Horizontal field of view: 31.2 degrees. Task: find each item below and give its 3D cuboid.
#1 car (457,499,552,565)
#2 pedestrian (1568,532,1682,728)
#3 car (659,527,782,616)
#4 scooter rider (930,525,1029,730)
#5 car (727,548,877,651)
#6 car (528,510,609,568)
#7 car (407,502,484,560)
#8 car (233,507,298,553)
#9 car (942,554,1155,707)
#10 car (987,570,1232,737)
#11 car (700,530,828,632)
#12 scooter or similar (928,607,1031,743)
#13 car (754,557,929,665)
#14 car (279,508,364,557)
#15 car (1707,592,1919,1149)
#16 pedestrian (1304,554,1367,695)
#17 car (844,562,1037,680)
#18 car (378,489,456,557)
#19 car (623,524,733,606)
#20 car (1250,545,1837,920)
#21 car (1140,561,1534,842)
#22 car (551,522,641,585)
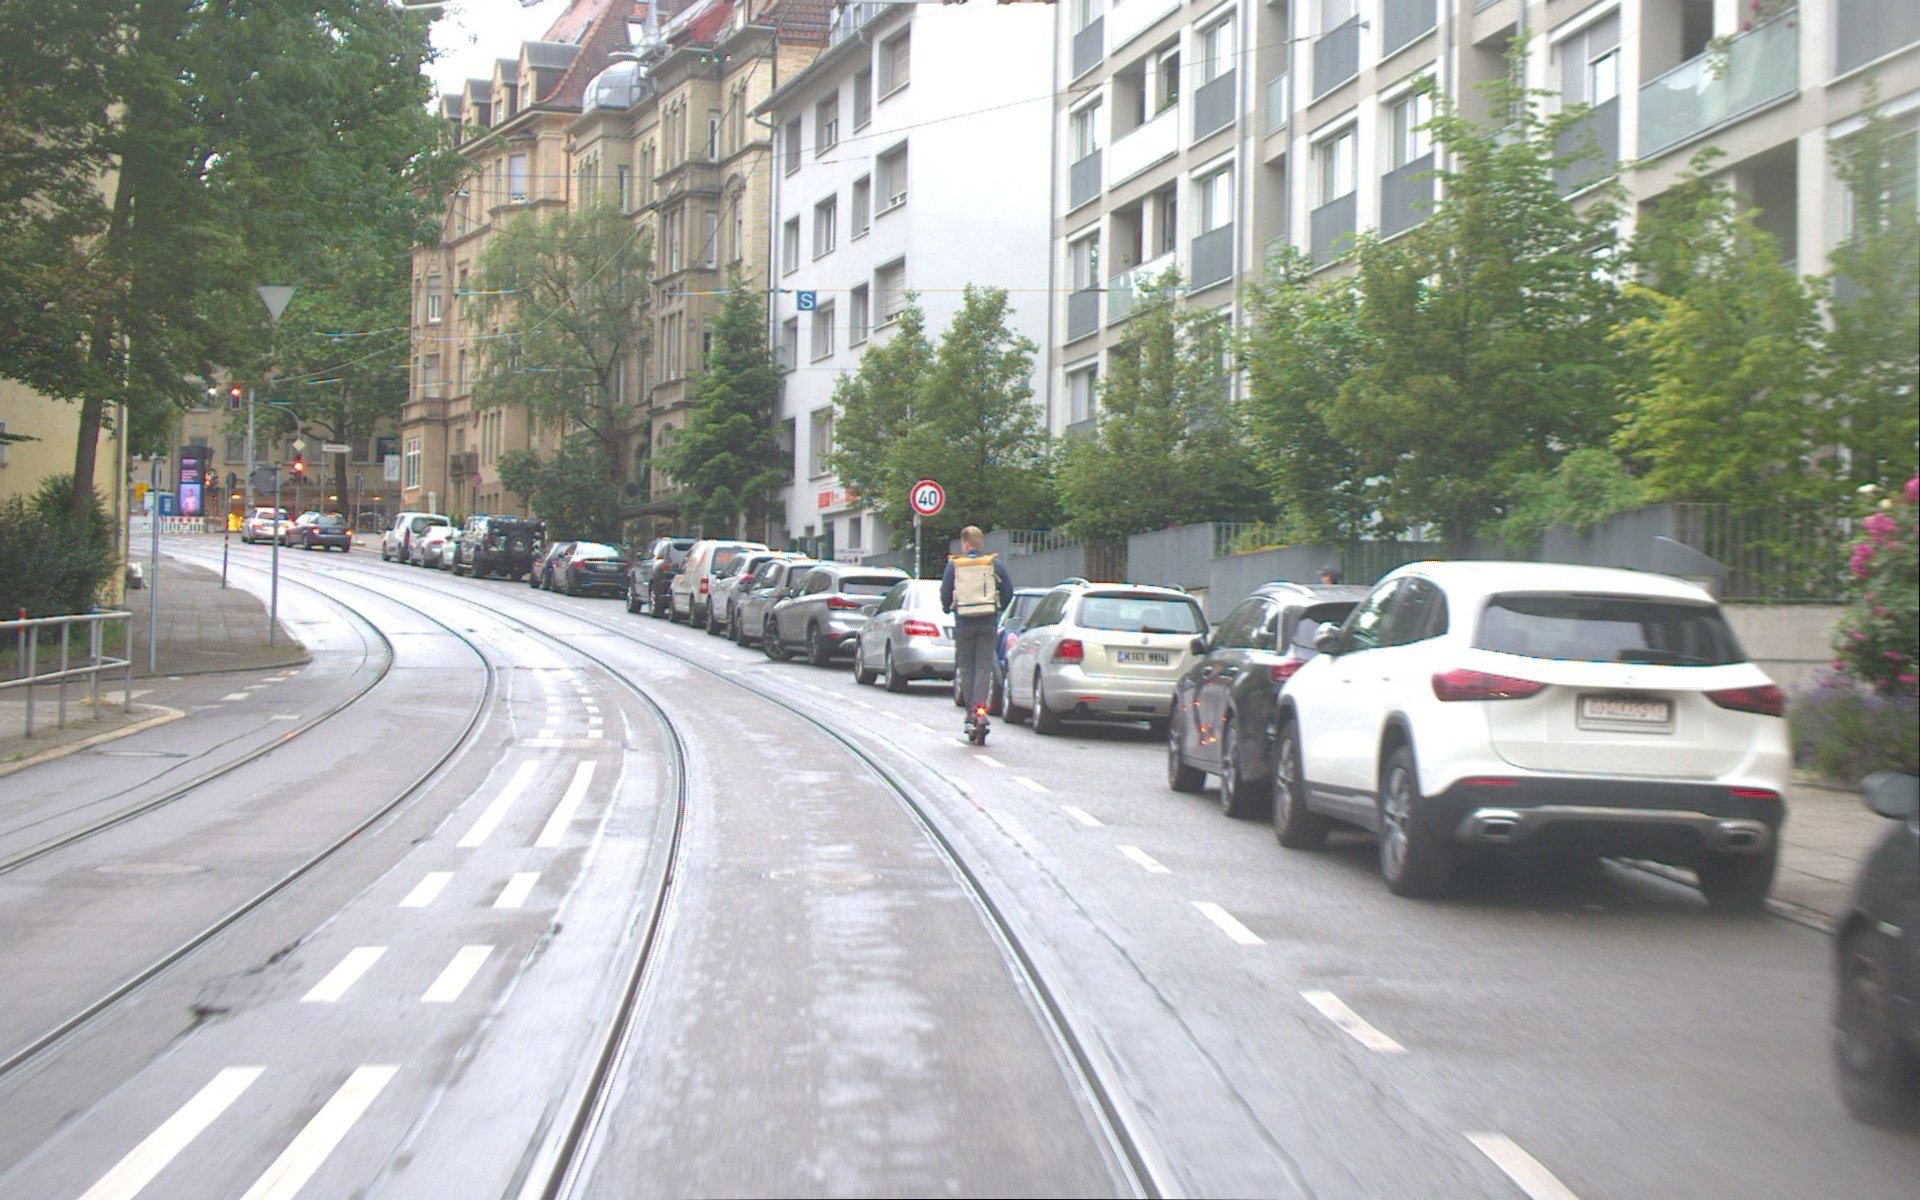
[{"bbox_3d":[-13.865,-2.081,104.460,2.027,1.818,4.369,3,1,-18],"label":"car"},{"bbox_3d":[5.335,0.228,27.608,0.569,1.537,0.930,-1,1,-12],"label":"pedestrian"},{"bbox_3d":[-5.098,-0.626,72.606,1.766,1.678,4.250,3,1,-15],"label":"car"},{"bbox_3d":[0.163,0.227,29.548,0.623,1.700,0.844,4,1,-9],"label":"scooter rider"},{"bbox_3d":[-2.845,-0.043,60.941,1.766,1.610,4.250,3,1,-14],"label":"car"},{"bbox_3d":[-10.885,-1.714,95.442,1.649,1.531,3.890,-1,2,-15],"label":"car"},{"bbox_3d":[-17.263,-2.331,115.299,2.027,1.818,4.141,3,1,-15],"label":"car"},{"bbox_3d":[-28.095,-2.841,138.963,1.856,1.728,4.141,3,1,-20],"label":"car"},{"bbox_3d":[0.937,0.302,38.451,1.701,1.507,3.715,3,1,-8],"label":"car"},{"bbox_3d":[1.396,0.476,33.863,1.661,1.466,4.509,3,0,-6],"label":"car"},{"bbox_3d":[-3.824,-0.392,66.490,1.766,1.781,4.250,3,1,-12],"label":"car"},{"bbox_3d":[0.156,0.629,29.623,0.513,1.046,2.009,4,1,-9],"label":"scooter or similar"},{"bbox_3d":[-1.943,0.144,55.095,1.766,1.610,4.249,1,1,-16],"label":"car"},{"bbox_3d":[-24.839,-2.633,133.676,2.027,1.728,4.140,2,1,-28],"label":"car"},{"bbox_3d":[3.343,0.765,8.964,1.556,1.432,4.304,2,1,-4],"label":"car"},{"bbox_3d":[4.171,0.269,38.200,0.569,1.537,0.651,-1,1,-4],"label":"pedestrian"},{"bbox_3d":[-0.320,0.241,45.519,1.761,1.430,4.640,1,1,-10],"label":"car"},{"bbox_3d":[-19.011,-2.706,120.311,2.027,2.210,4.141,3,1,-17],"label":"car"},{"bbox_3d":[-6.373,-0.812,77.257,1.766,1.678,4.250,3,1,-13],"label":"car"},{"bbox_3d":[2.825,0.570,17.669,1.837,1.567,4.249,3,1,-5],"label":"car"},{"bbox_3d":[2.365,0.581,22.711,1.701,1.507,4.572,4,1,-4],"label":"car"},{"bbox_3d":[-9.637,-1.242,90.738,1.766,1.512,4.141,3,1,-13],"label":"car"}]
